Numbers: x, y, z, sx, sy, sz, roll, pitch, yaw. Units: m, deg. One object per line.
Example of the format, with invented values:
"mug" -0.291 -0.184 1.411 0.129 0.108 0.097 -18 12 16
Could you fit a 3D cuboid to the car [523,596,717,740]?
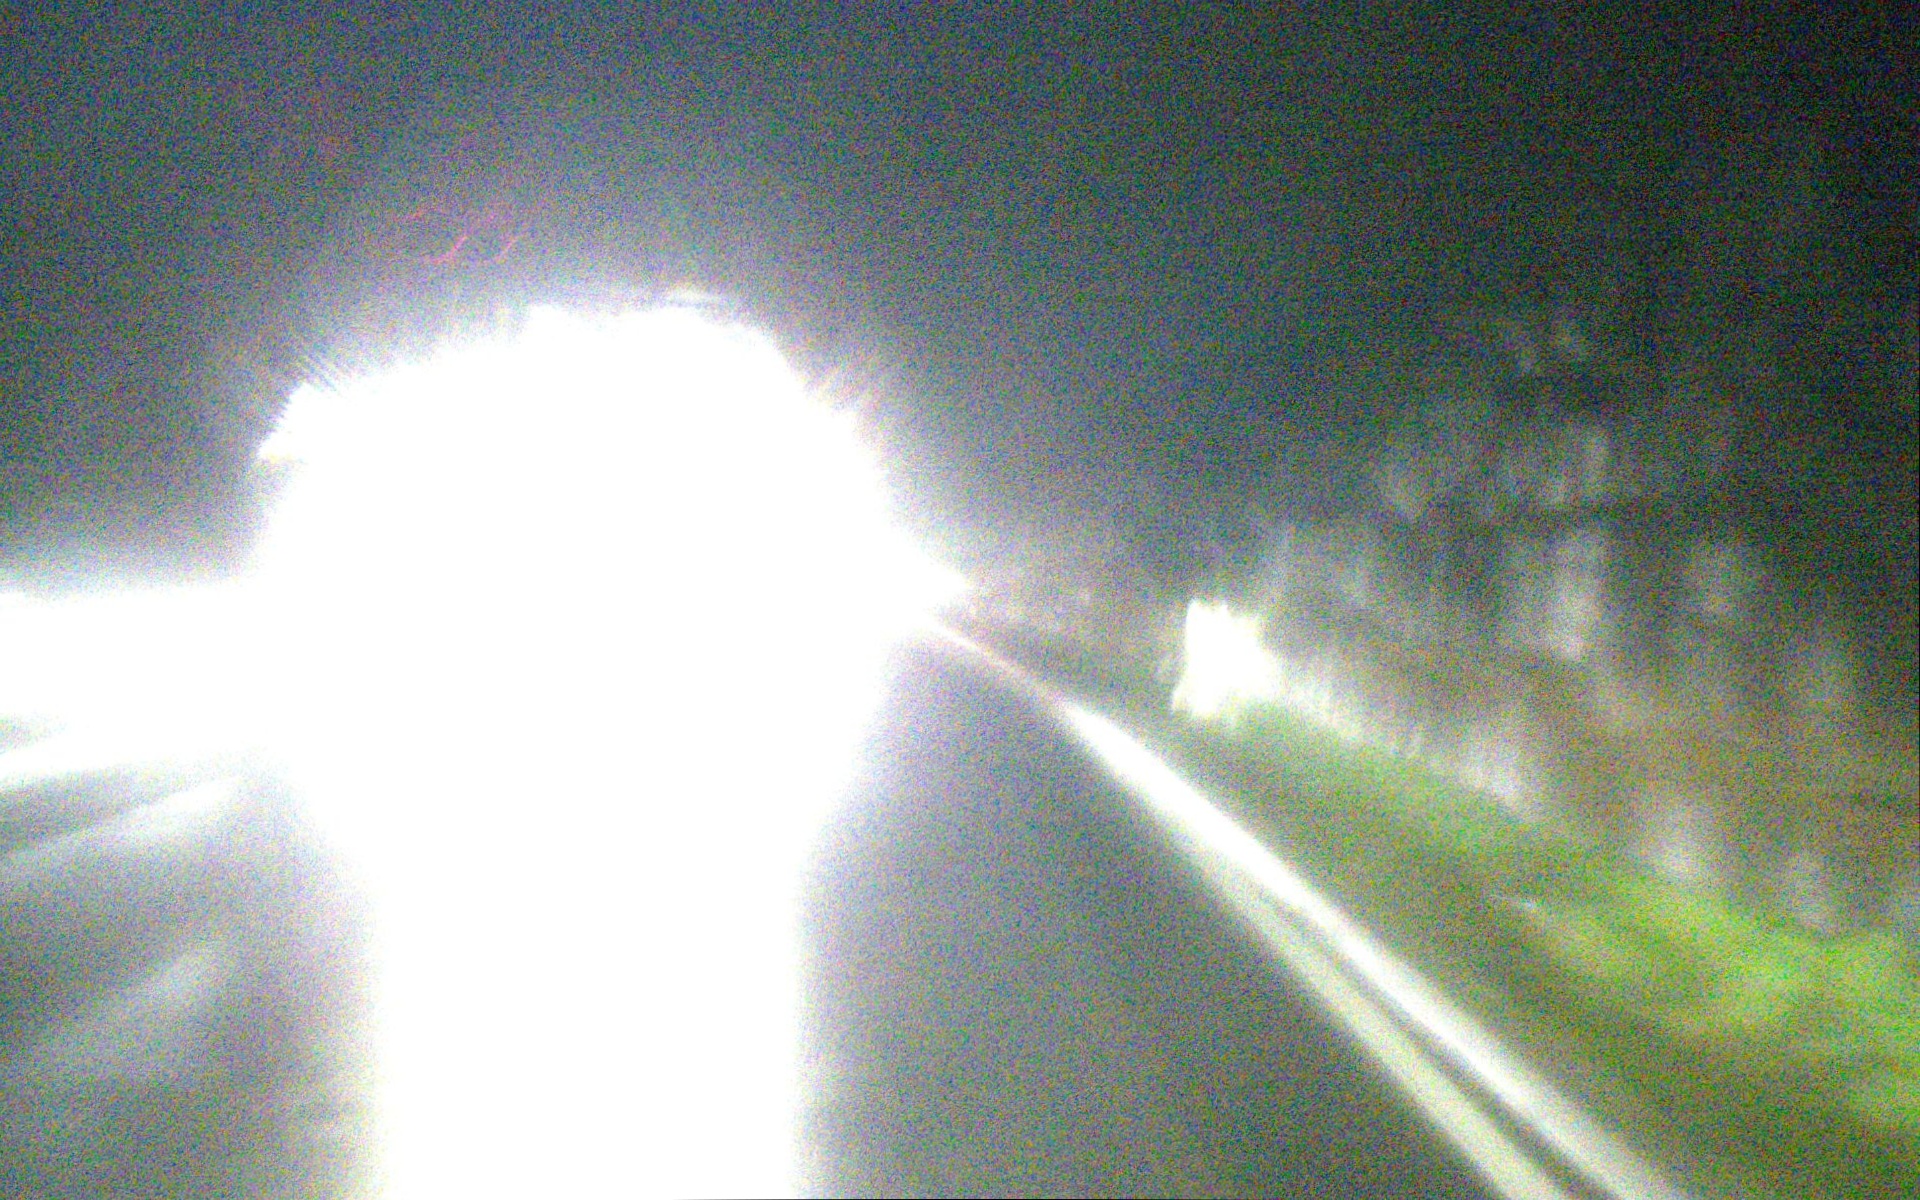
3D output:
"car" -4.017 0.778 41.231 1.993 1.495 4.001 1 2 -1
